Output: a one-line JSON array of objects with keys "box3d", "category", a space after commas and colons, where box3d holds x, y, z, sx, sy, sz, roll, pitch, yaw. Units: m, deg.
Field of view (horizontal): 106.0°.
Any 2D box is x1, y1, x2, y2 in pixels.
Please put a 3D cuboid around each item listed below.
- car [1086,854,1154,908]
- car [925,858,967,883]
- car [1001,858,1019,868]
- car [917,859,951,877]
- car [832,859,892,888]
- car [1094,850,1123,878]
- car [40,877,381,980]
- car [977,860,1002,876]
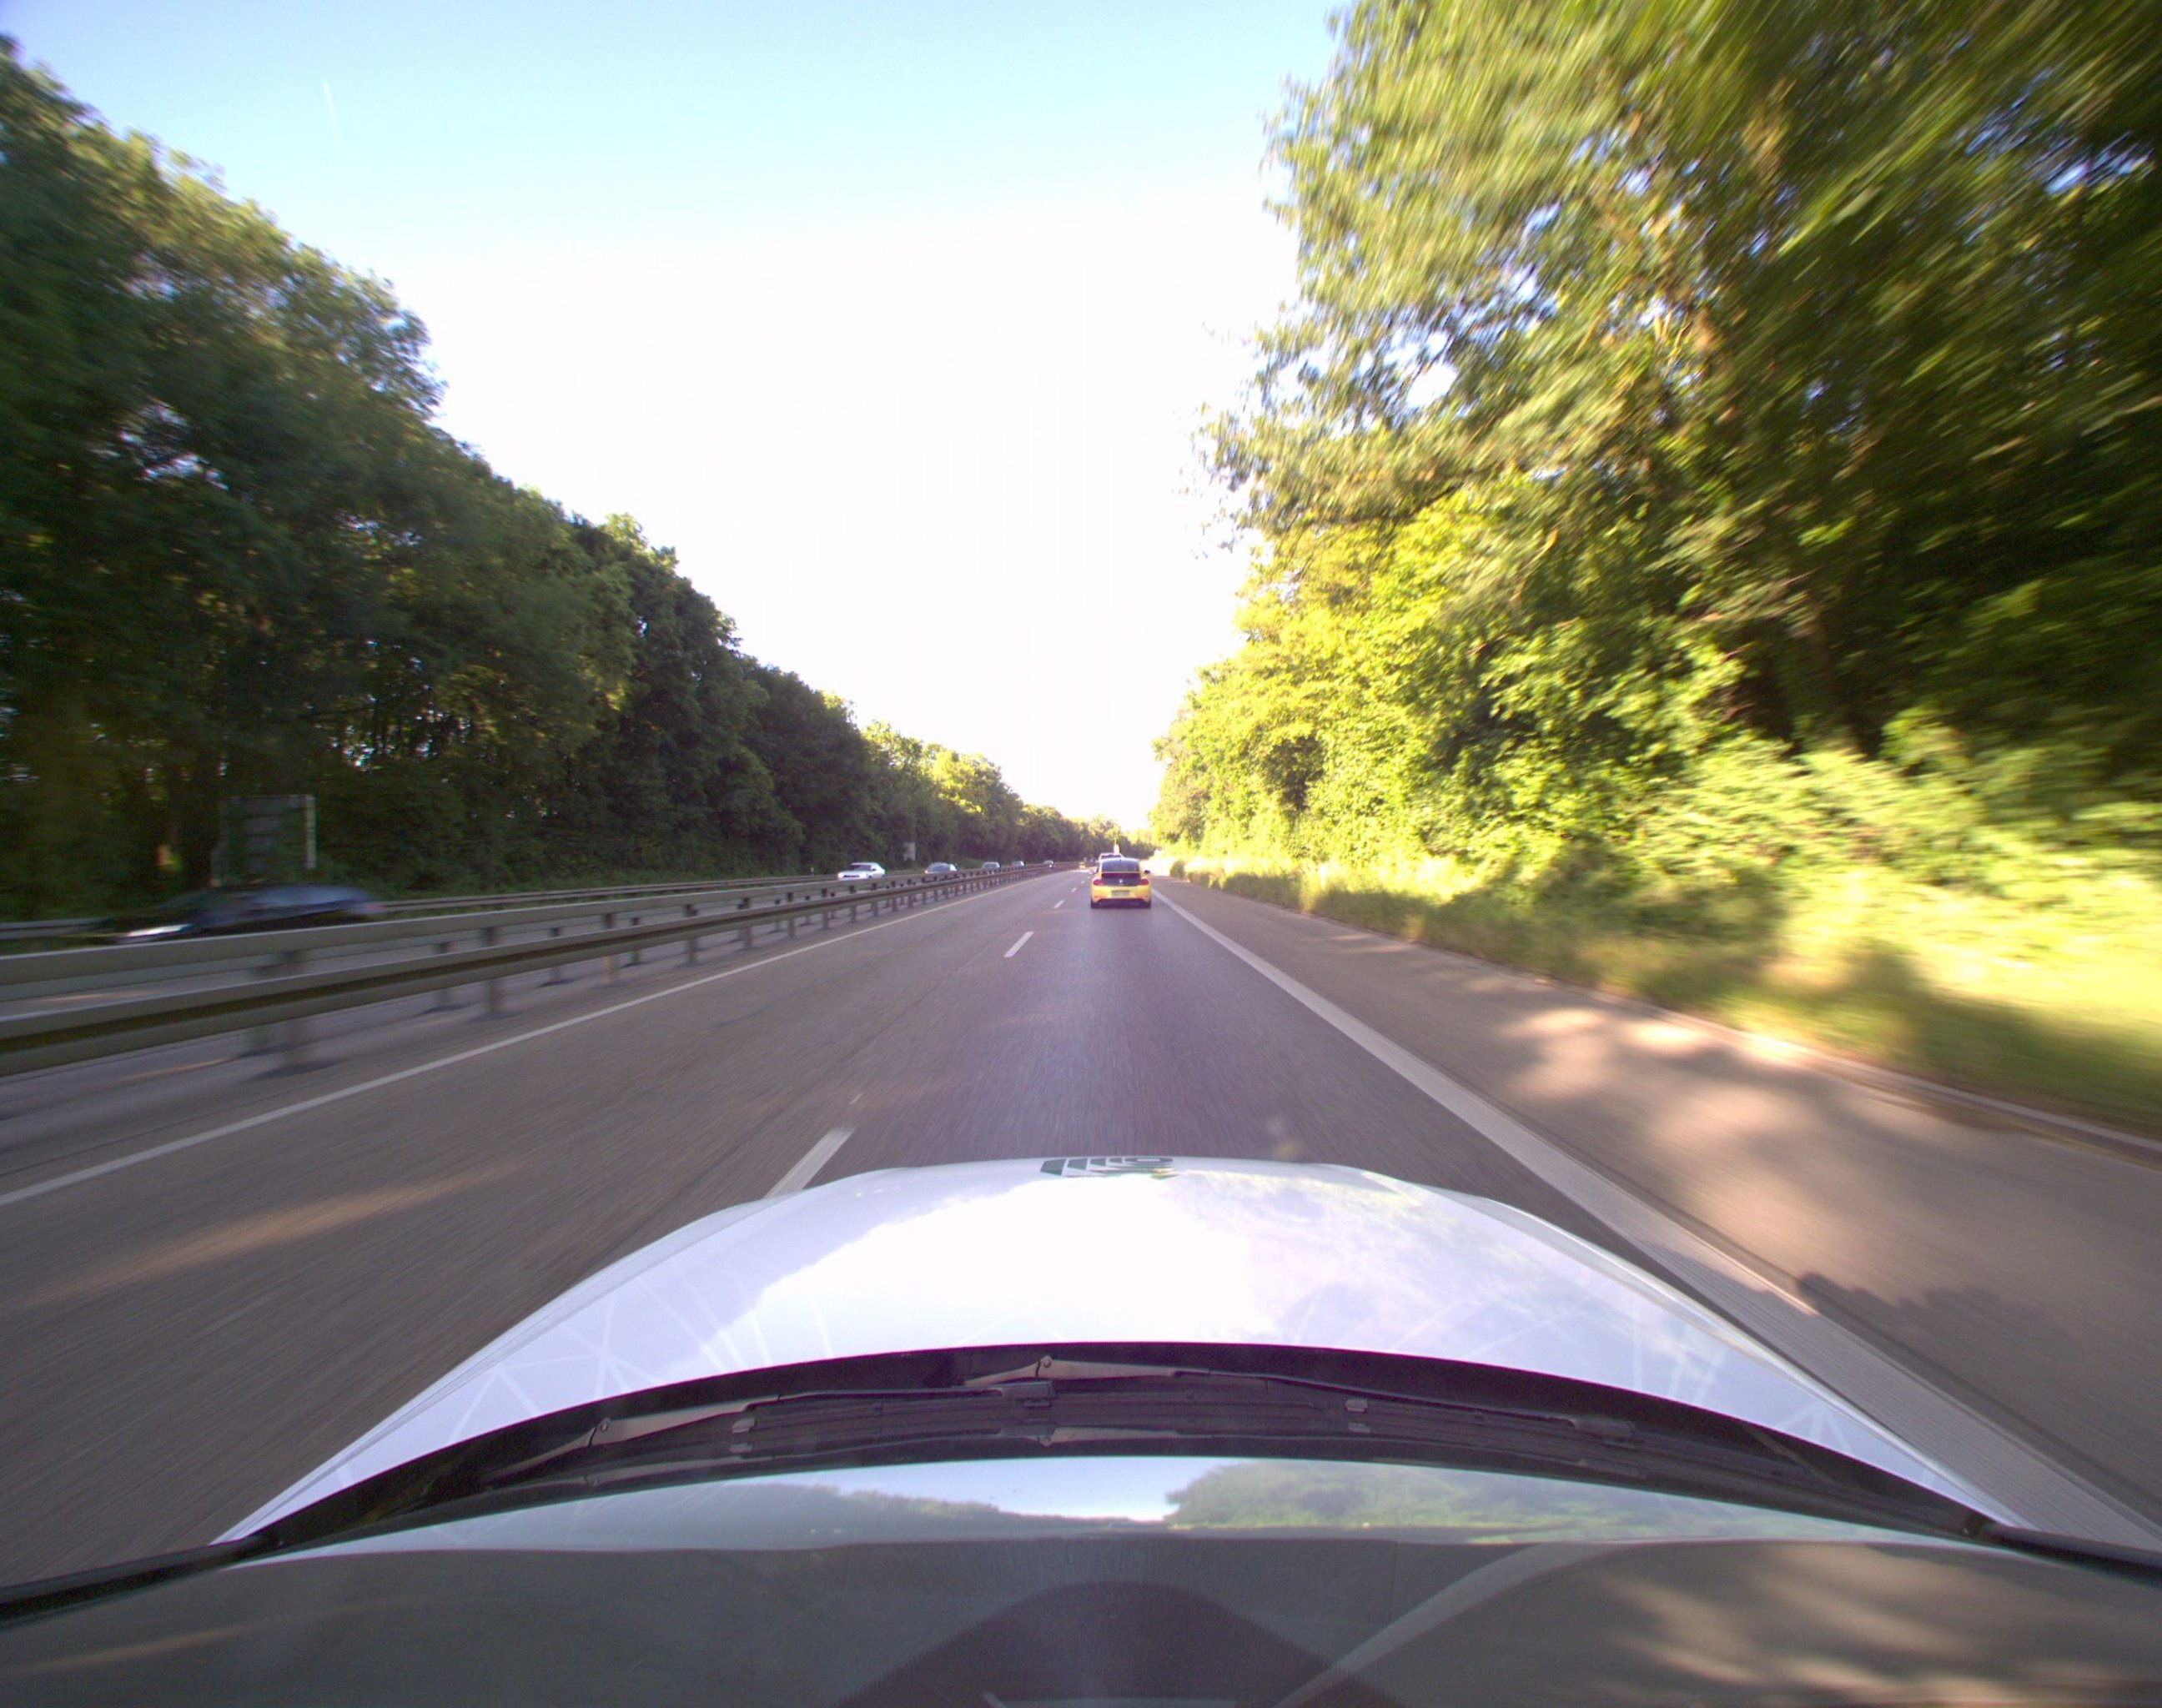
[{"box3d": [1.262, 0.767, 24.884, 1.930, 1.508, 3.427, -1, 0, 5], "category": "car"}, {"box3d": [-8.952, 1.065, 54.316, 1.716, 1.468, 4.101, -3, -1, 4], "category": "car"}, {"box3d": [-10.821, 1.395, 124.166, 1.985, 1.464, 4.906, -3, -1, 3], "category": "car"}, {"box3d": [-12.838, 1.213, 71.442, 1.985, 1.464, 4.003, -3, -1, 3], "category": "car"}, {"box3d": [-13.421, 1.166, 50.159, 1.984, 1.623, 4.795, -3, -1, 4], "category": "car"}, {"box3d": [1.847, 0.642, 53.519, 1.734, 1.830, 3.426, 0, 0, 4], "category": "car"}, {"box3d": [-15.968, 1.282, 15.325, 1.986, 1.486, 4.001, -3, -1, 1], "category": "car"}, {"box3d": [-8.572, 1.327, 76.256, 1.718, 1.373, 4.097, -3, -2, 1], "category": "car"}]
